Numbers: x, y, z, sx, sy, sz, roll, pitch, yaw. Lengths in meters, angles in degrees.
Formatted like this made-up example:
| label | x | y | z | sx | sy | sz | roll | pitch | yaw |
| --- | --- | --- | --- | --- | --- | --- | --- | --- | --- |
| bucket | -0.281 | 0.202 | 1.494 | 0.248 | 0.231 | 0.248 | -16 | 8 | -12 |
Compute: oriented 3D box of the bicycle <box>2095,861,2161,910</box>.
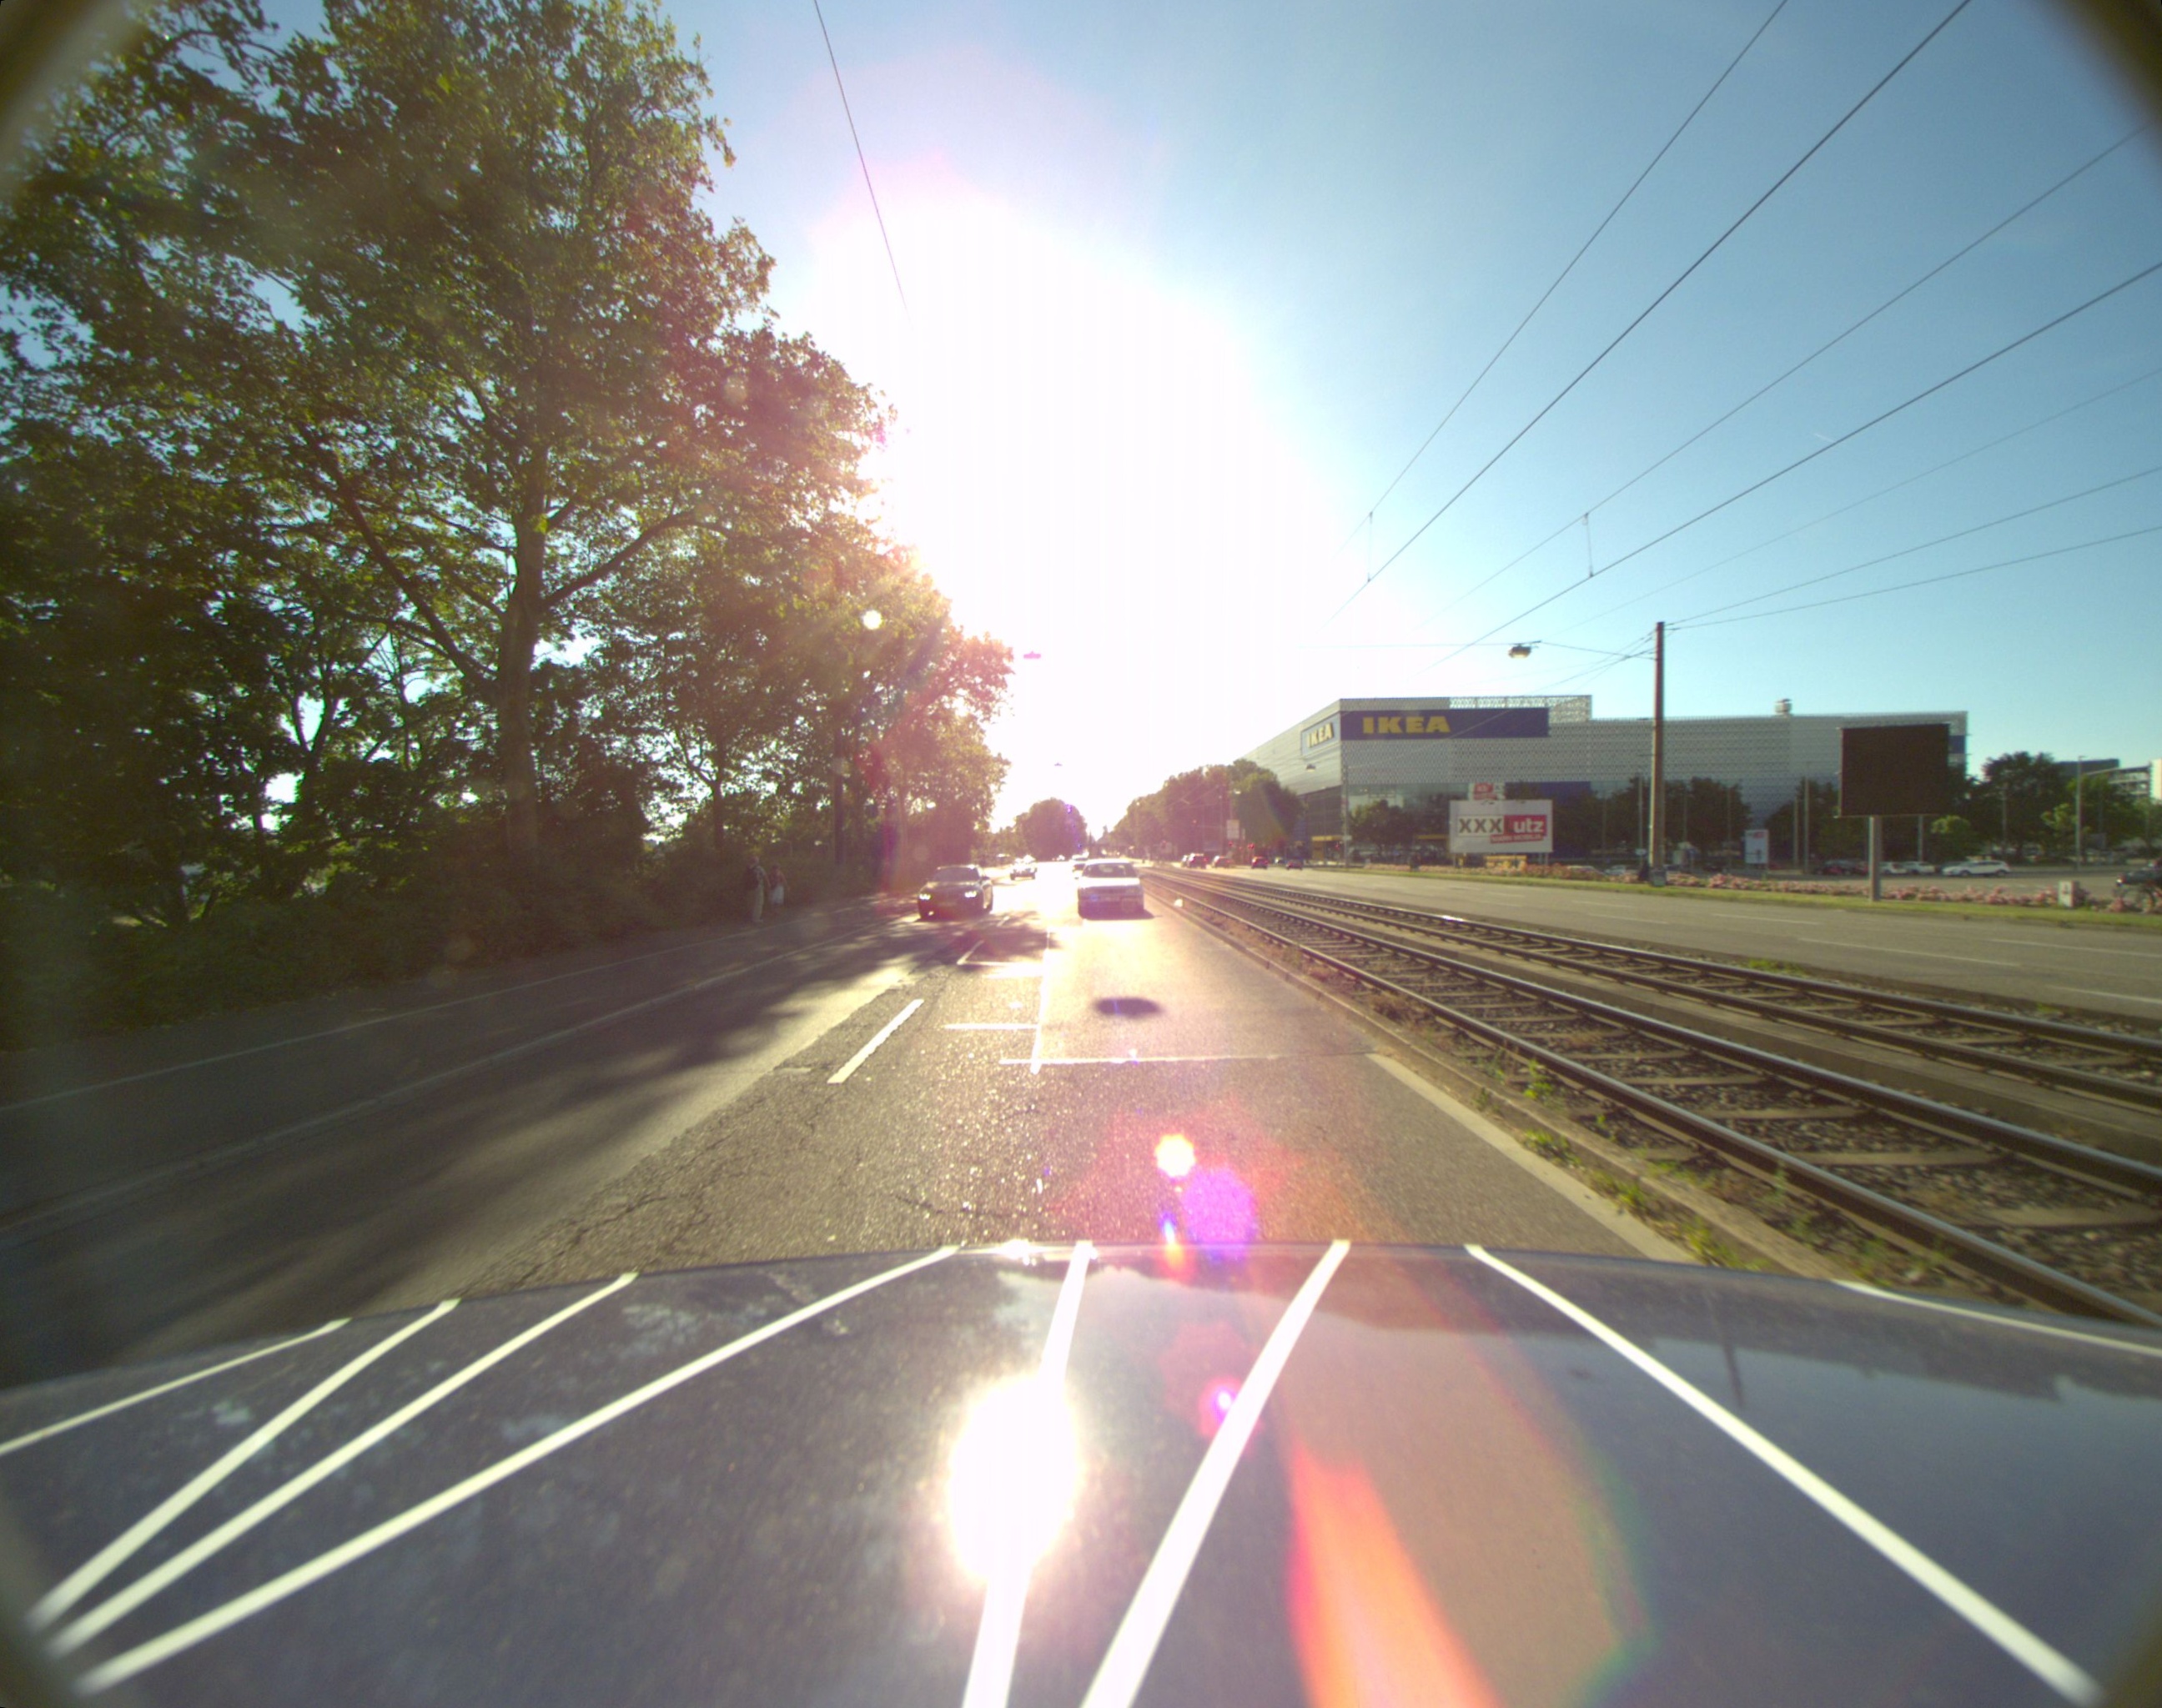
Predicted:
| label | x | y | z | sx | sy | sz | roll | pitch | yaw |
| --- | --- | --- | --- | --- | --- | --- | --- | --- | --- |
| bicycle | 27.013 | 0.777 | 19.066 | 0.662 | 1.144 | 2.023 | -3 | 0 | 10 |

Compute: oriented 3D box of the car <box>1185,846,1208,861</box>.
| label | x | y | z | sx | sy | sz | roll | pitch | yaw |
| --- | --- | --- | --- | --- | --- | --- | --- | --- | --- |
| car | 13.083 | -0.103 | 86.420 | 1.998 | 1.646 | 4.658 | 0 | 1 | 1 |

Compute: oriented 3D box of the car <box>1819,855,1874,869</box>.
| label | x | y | z | sx | sy | sz | roll | pitch | yaw |
| --- | --- | --- | --- | --- | --- | --- | --- | --- | --- |
| car | 88.336 | 0.921 | 87.803 | 1.672 | 1.543 | 4.437 | -3 | 0 | -4 |

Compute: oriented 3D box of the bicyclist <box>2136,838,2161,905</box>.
| label | x | y | z | sx | sy | sz | roll | pitch | yaw |
| --- | --- | --- | --- | --- | --- | --- | --- | --- | --- |
| bicyclist | 26.937 | 0.432 | 18.745 | 0.662 | 1.614 | 0.801 | -3 | 1 | 10 |

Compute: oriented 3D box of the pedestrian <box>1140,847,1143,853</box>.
| label | x | y | z | sx | sy | sz | roll | pitch | yaw |
| --- | --- | --- | --- | --- | --- | --- | --- | --- | --- |
| pedestrian | 14.896 | -0.974 | 186.302 | 0.603 | 1.217 | 0.617 | -3 | 1 | 5 |

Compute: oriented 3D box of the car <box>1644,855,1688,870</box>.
| label | x | y | z | sx | sy | sz | roll | pitch | yaw |
| --- | --- | --- | --- | --- | --- | --- | --- | --- | --- |
| car | 69.095 | 1.023 | 89.871 | 1.935 | 1.583 | 3.999 | -3 | 0 | -3 |

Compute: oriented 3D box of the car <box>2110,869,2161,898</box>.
| label | x | y | z | sx | sy | sz | roll | pitch | yaw |
| --- | --- | --- | --- | --- | --- | --- | --- | --- | --- |
| car | 69.009 | 1.890 | 47.990 | 1.926 | 1.692 | 4.448 | -3 | 0 | 0 |

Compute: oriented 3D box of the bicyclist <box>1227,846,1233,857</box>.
| label | x | y | z | sx | sy | sz | roll | pitch | yaw |
| --- | --- | --- | --- | --- | --- | --- | --- | --- | --- |
| bicyclist | 20.977 | -0.399 | 107.069 | 0.589 | 1.514 | 0.751 | -2 | 1 | 1 |

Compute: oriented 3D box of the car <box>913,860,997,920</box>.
| label | x | y | z | sx | sy | sz | roll | pitch | yaw |
| --- | --- | --- | --- | --- | --- | --- | --- | --- | --- |
| car | -3.670 | 0.997 | 22.912 | 1.871 | 1.459 | 4.584 | -2 | 1 | -2 |

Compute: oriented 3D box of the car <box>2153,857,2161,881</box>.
| label | x | y | z | sx | sy | sz | roll | pitch | yaw |
| --- | --- | --- | --- | --- | --- | --- | --- | --- | --- |
| car | 85.461 | 1.121 | 57.866 | 1.999 | 1.803 | 3.999 | -3 | 0 | 0 |

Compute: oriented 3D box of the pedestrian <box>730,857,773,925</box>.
| label | x | y | z | sx | sy | sz | roll | pitch | yaw |
| --- | --- | --- | --- | --- | --- | --- | --- | --- | --- |
| pedestrian | -8.380 | 0.927 | 19.371 | 0.724 | 1.698 | 0.813 | 0 | 1 | 0 |

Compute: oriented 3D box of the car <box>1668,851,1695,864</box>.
| label | x | y | z | sx | sy | sz | roll | pitch | yaw |
| --- | --- | --- | --- | --- | --- | --- | --- | --- | --- |
| car | 80.343 | 0.440 | 101.678 | 1.904 | 1.559 | 4.254 | -3 | 0 | 25 |

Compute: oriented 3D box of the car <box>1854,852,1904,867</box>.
| label | x | y | z | sx | sy | sz | roll | pitch | yaw |
| --- | --- | --- | --- | --- | --- | --- | --- | --- | --- |
| car | 93.228 | 0.612 | 88.861 | 1.727 | 1.646 | 4.000 | -1 | 0 | 1 |

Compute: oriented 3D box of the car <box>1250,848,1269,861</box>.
| label | x | y | z | sx | sy | sz | roll | pitch | yaw |
| --- | --- | --- | --- | --- | --- | --- | --- | --- | --- |
| car | 21.322 | 0.038 | 90.925 | 1.938 | 1.468 | 4.134 | 1 | 1 | 9 |

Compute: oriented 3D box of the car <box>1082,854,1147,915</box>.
| label | x | y | z | sx | sy | sz | roll | pitch | yaw |
| --- | --- | --- | --- | --- | --- | --- | --- | --- | --- |
| car | 0.860 | 0.757 | 20.869 | 1.602 | 1.440 | 3.799 | -1 | 1 | 1 |

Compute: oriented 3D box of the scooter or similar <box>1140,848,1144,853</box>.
| label | x | y | z | sx | sy | sz | roll | pitch | yaw |
| --- | --- | --- | --- | --- | --- | --- | --- | --- | --- |
| scooter or similar | 14.526 | -0.809 | 180.557 | 0.666 | 1.227 | 1.372 | -1 | 1 | 0 |

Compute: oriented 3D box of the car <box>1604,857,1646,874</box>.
| label | x | y | z | sx | sy | sz | roll | pitch | yaw |
| --- | --- | --- | --- | --- | --- | --- | --- | --- | --- |
| car | 64.101 | 1.324 | 89.573 | 1.935 | 1.734 | 3.999 | -3 | 0 | -3 |

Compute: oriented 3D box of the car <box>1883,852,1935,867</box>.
| label | x | y | z | sx | sy | sz | roll | pitch | yaw |
| --- | --- | --- | --- | --- | --- | --- | --- | --- | --- |
| car | 96.165 | 0.598 | 88.319 | 1.800 | 1.646 | 4.000 | -1 | 0 | 1 |

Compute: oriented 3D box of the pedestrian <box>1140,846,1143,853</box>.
| label | x | y | z | sx | sy | sz | roll | pitch | yaw |
| --- | --- | --- | --- | --- | --- | --- | --- | --- | --- |
| pedestrian | 14.636 | -1.172 | 183.621 | 0.603 | 1.611 | 0.690 | -3 | 1 | 5 |

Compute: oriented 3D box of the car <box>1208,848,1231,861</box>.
| label | x | y | z | sx | sy | sz | roll | pitch | yaw |
| --- | --- | --- | --- | --- | --- | --- | --- | --- | --- |
| car | 16.622 | 0.064 | 91.311 | 1.861 | 1.452 | 4.137 | -1 | 0 | -1 |

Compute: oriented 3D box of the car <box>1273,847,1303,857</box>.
| label | x | y | z | sx | sy | sz | roll | pitch | yaw |
| --- | --- | --- | --- | --- | --- | --- | --- | --- | --- |
| car | 32.889 | -0.281 | 120.736 | 4.252 | 1.489 | 2.016 | 2 | 2 | 5 |

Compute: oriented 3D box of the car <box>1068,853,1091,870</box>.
| label | x | y | z | sx | sy | sz | roll | pitch | yaw |
| --- | --- | --- | --- | --- | --- | --- | --- | --- | --- |
| car | -0.115 | 0.660 | 69.782 | 1.871 | 1.422 | 3.831 | -3 | 0 | 2 |

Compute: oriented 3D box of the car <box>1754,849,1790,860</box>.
| label | x | y | z | sx | sy | sz | roll | pitch | yaw |
| --- | --- | --- | --- | --- | --- | --- | --- | --- | --- |
| car | 100.087 | 0.035 | 110.073 | 3.583 | 1.452 | 1.770 | 1 | 2 | -1 |

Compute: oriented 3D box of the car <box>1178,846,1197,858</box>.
| label | x | y | z | sx | sy | sz | roll | pitch | yaw |
| --- | --- | --- | --- | --- | --- | --- | --- | --- | --- |
| car | 13.097 | -0.216 | 93.648 | 1.788 | 1.439 | 4.108 | 0 | 0 | 1 |

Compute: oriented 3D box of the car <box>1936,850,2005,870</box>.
| label | x | y | z | sx | sy | sz | roll | pitch | yaw |
| --- | --- | --- | --- | --- | --- | --- | --- | --- | --- |
| car | 91.418 | 0.573 | 78.179 | 4.220 | 1.789 | 1.829 | -3 | 1 | 21 |

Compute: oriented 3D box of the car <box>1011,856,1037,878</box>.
| label | x | y | z | sx | sy | sz | roll | pitch | yaw |
| --- | --- | --- | --- | --- | --- | --- | --- | --- | --- |
| car | -4.219 | 0.933 | 56.228 | 1.857 | 1.415 | 3.978 | -2 | 0 | -4 |

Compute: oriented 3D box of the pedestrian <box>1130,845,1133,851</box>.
| label | x | y | z | sx | sy | sz | roll | pitch | yaw |
| --- | --- | --- | --- | --- | --- | --- | --- | --- | --- |
| pedestrian | 13.354 | -1.631 | 200.116 | 0.763 | 1.700 | 0.678 | -1 | 1 | 2 |

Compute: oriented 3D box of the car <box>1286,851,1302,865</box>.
| label | x | y | z | sx | sy | sz | roll | pitch | yaw |
| --- | --- | --- | --- | --- | --- | --- | --- | --- | --- |
| car | 25.255 | 0.427 | 90.149 | 1.823 | 1.633 | 4.004 | 1 | 0 | 15 |

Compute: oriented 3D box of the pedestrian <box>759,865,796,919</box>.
| label | x | y | z | sx | sy | sz | roll | pitch | yaw |
| --- | --- | --- | --- | --- | --- | --- | --- | --- | --- |
| pedestrian | -8.414 | 1.039 | 21.104 | 0.725 | 1.472 | 0.722 | 0 | 1 | 0 |
